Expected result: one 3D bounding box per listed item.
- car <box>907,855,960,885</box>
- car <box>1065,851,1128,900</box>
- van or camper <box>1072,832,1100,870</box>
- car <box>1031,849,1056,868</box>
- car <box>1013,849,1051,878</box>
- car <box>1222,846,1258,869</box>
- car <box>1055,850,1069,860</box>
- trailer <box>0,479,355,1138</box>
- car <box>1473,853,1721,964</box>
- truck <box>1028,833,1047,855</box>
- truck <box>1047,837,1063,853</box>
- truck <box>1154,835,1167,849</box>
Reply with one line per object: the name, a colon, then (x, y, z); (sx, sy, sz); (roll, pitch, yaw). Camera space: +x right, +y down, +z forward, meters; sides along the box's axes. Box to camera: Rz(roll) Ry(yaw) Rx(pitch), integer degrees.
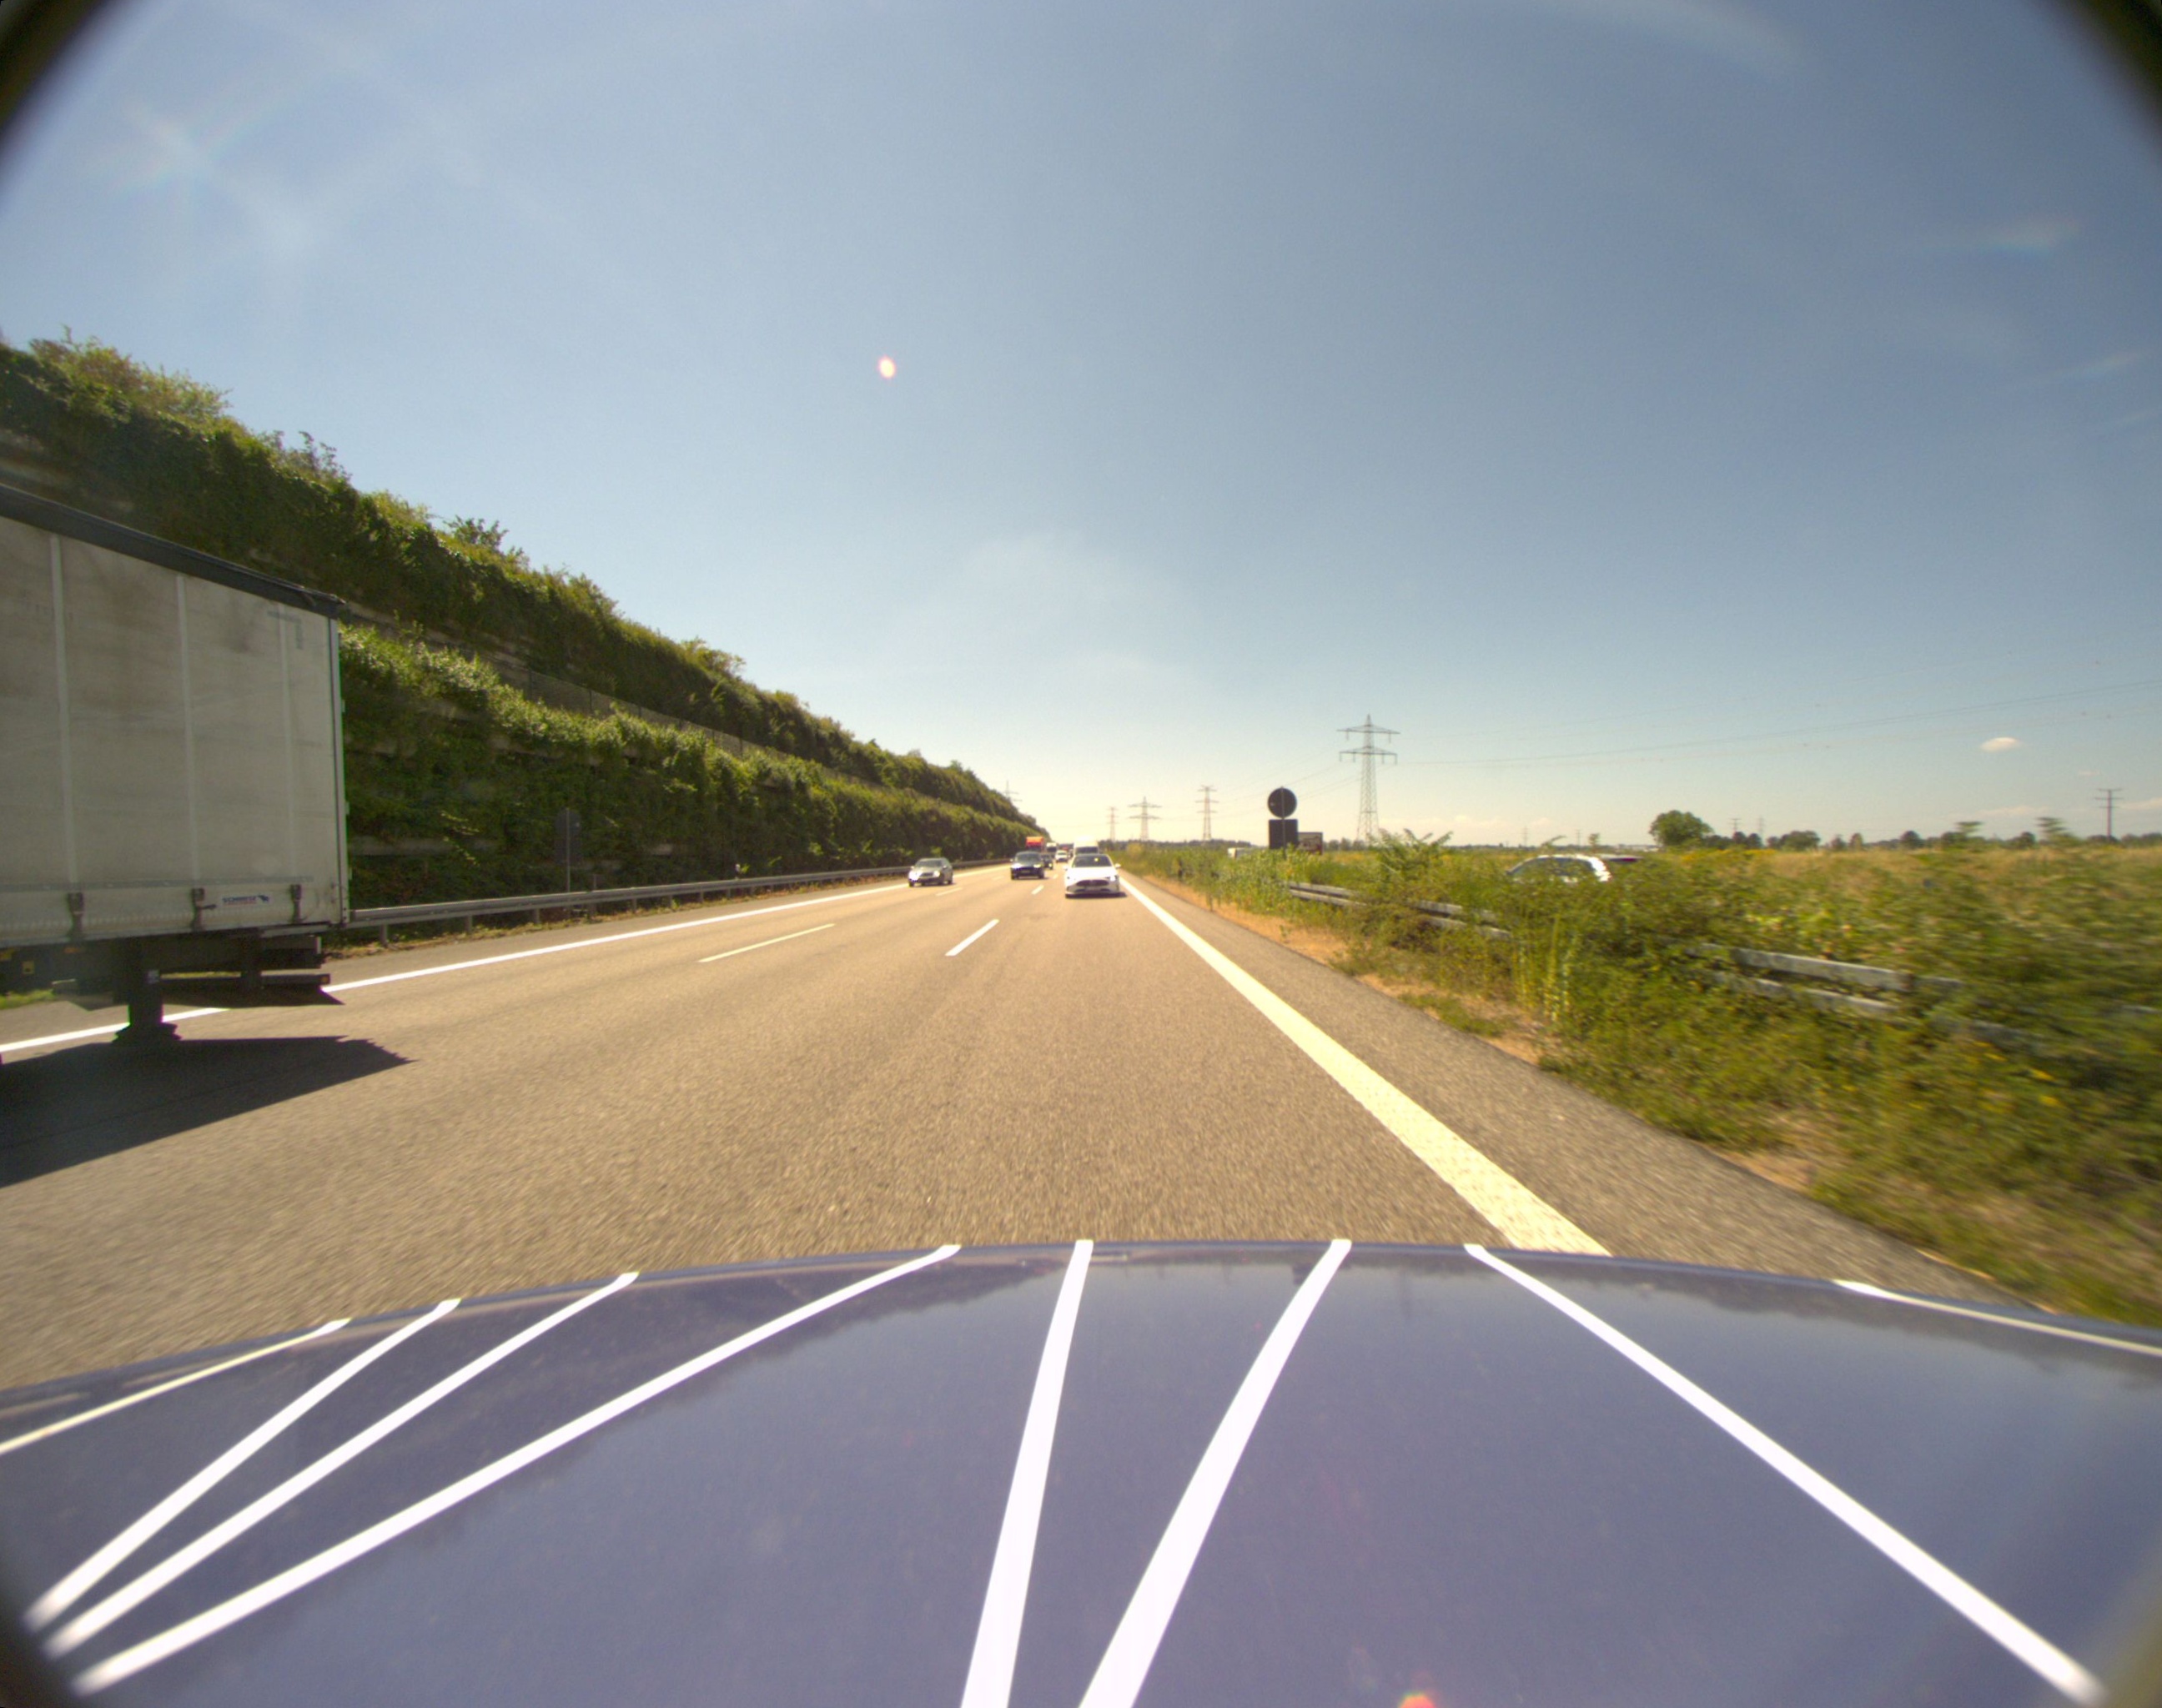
car: (-7.723, 0.823, 40.222); (1.840, 1.403, 4.558); (-2, 0, 0)
car: (0.517, 0.692, 26.905); (1.984, 1.525, 4.558); (-2, 0, 0)
van or camper: (0.444, -0.258, 59.564); (1.998, 2.741, 5.410); (-2, 1, 2)
car: (-3.480, 0.365, 71.218); (1.984, 1.671, 4.558); (-1, 1, 0)
car: (-2.966, 0.539, 46.639); (1.984, 1.671, 4.558); (-1, 0, 0)
car: (14.319, 0.261, 68.633); (2.002, 1.975, 5.838); (-1, 0, 0)
car: (-2.785, 0.105, 114.414); (1.984, 1.525, 4.137); (0, 0, 0)
trailer: (-8.070, -0.225, 0.316); (2.735, 4.079, 13.187); (-1, 1, 0)
car: (9.783, 0.913, 14.934); (1.923, 1.769, 4.412); (-1, 1, 1)
truck: (-6.746, -1.537, 118.698); (2.581, 3.205, 5.712); (-2, 1, 0)
truck: (-6.226, -2.250, 184.238); (3.507, 3.891, 9.645); (0, 1, -1)
truck: (23.697, -3.665, 227.533); (3.214, 4.060, 9.648); (0, 1, 2)
